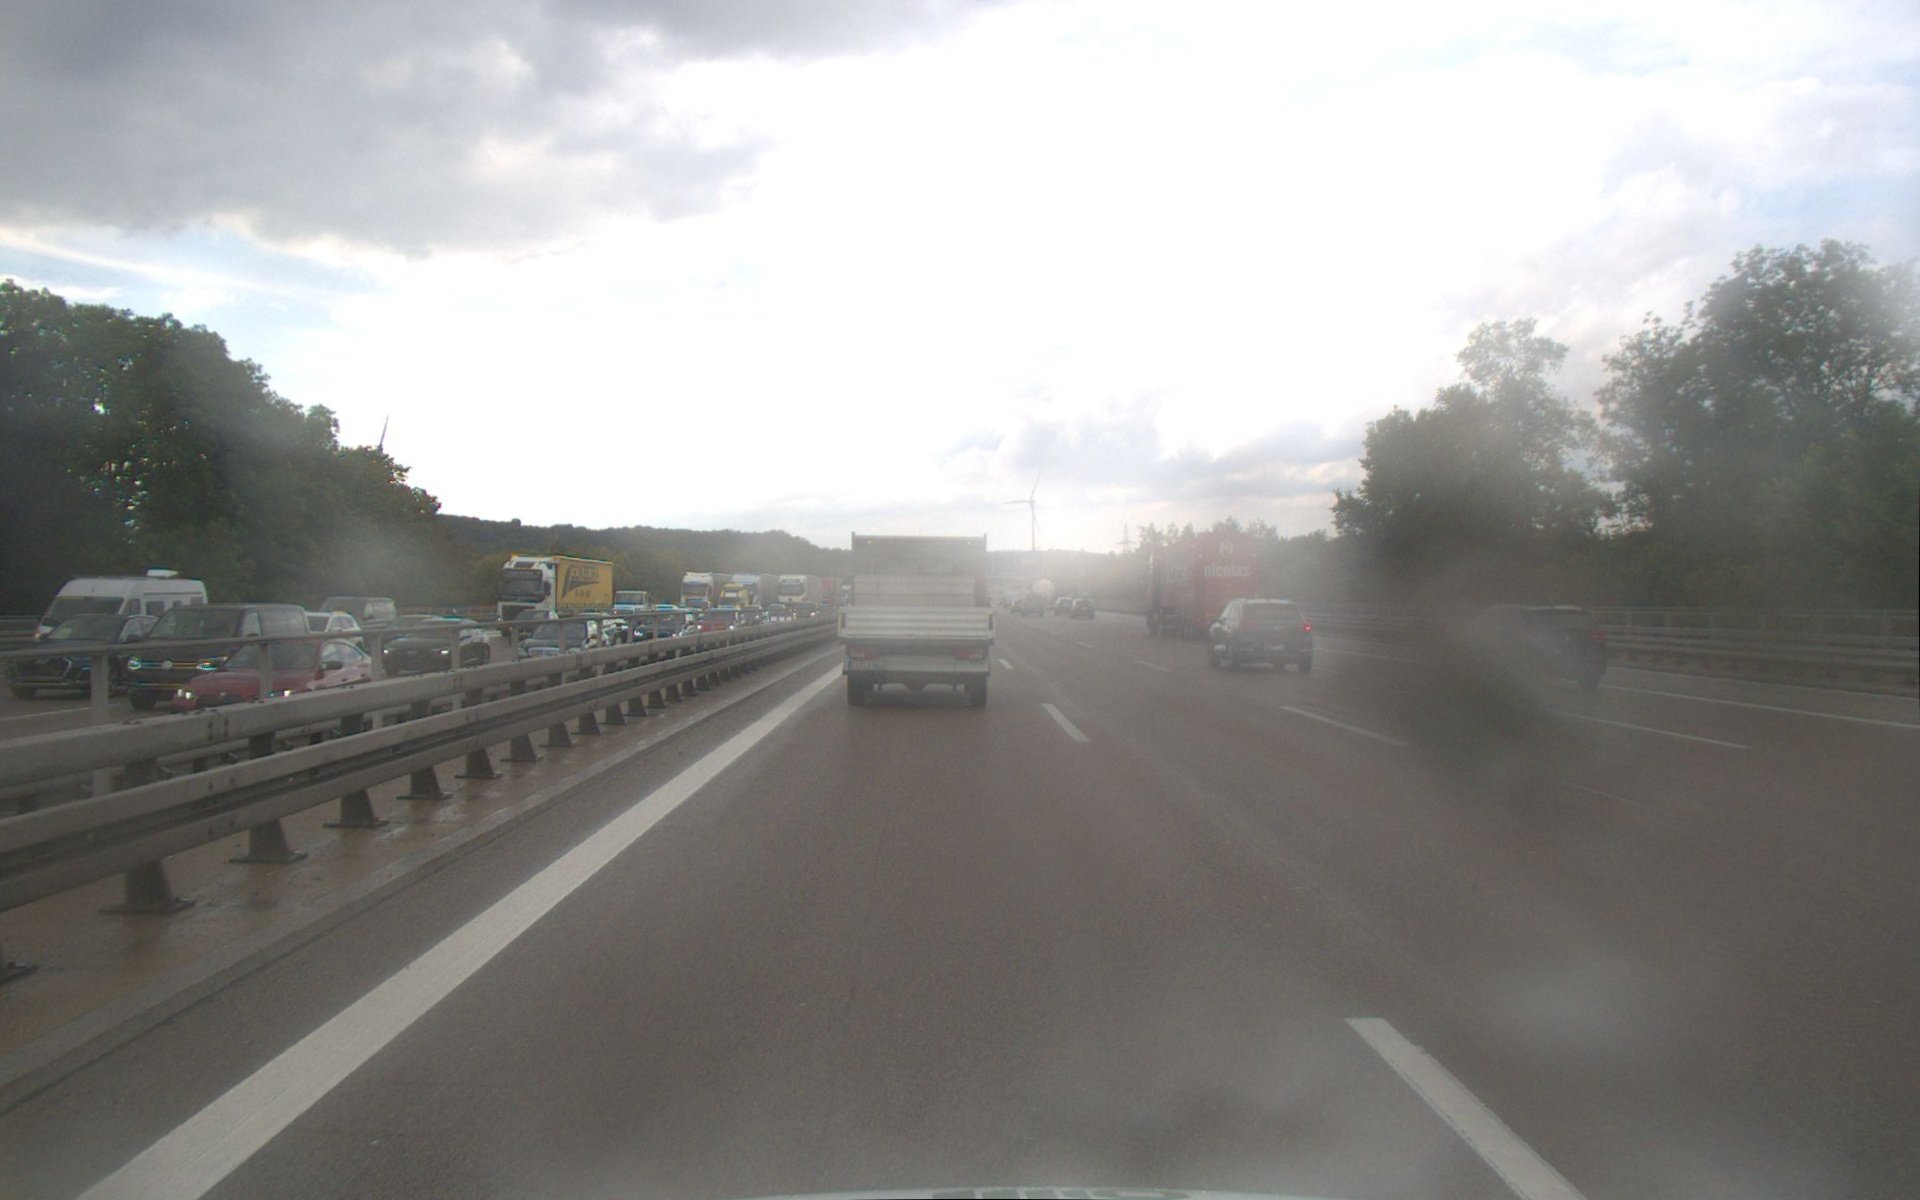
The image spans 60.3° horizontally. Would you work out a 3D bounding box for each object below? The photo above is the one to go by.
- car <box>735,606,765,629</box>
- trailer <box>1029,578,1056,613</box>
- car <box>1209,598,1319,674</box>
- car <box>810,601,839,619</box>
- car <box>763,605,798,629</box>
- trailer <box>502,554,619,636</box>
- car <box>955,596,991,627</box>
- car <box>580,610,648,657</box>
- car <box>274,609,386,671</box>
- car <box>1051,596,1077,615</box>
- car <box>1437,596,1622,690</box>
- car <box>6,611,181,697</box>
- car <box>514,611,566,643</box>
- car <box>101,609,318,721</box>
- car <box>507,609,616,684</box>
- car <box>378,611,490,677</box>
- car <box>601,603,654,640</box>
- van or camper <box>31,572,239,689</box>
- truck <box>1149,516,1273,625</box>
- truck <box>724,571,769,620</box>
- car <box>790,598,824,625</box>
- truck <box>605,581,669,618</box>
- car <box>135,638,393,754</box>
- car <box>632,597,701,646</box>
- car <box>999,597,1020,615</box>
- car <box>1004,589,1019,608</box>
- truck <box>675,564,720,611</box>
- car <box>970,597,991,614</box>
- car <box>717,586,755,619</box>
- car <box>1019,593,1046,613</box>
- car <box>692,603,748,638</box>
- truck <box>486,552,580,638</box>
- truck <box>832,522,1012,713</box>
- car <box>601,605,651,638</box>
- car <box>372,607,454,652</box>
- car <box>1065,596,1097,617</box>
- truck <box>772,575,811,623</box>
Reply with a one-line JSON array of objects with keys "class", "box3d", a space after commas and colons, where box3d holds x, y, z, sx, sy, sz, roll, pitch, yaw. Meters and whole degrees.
[{"class": "car", "box3d": [-15.071, 1.244, 118.820, 1.712, 1.604, 4.687, -1, 0, -2]}, {"class": "trailer", "box3d": [10.596, -0.557, 213.639, 3.264, 4.249, 11.840, 1, 0, 2]}, {"class": "car", "box3d": [6.614, 0.759, 36.355, 1.755, 1.590, 3.722, 0, 0, 0]}, {"class": "car", "box3d": [-11.202, 0.791, 136.790, 1.973, 1.411, 5.459, -1, 0, 0]}, {"class": "car", "box3d": [-10.891, 1.041, 100.790, 1.726, 1.407, 4.819, -1, 0, -2]}, {"class": "trailer", "box3d": [-22.537, -0.257, 94.371, 3.181, 4.302, 14.508, -1, 0, 0]}, {"class": "car", "box3d": [0.762, 0.623, 94.346, 2.003, 1.729, 4.001, 0, 0, 1]}, {"class": "car", "box3d": [-13.539, 1.273, 64.929, 1.819, 1.738, 3.999, -1, 0, -1]}, {"class": "car", "box3d": [-18.174, 1.118, 47.914, 1.693, 1.640, 4.461, -1, 0, -3]}, {"class": "car", "box3d": [9.804, 0.474, 155.659, 2.004, 1.729, 5.005, 0, 0, -2]}, {"class": "car", "box3d": [10.281, 0.724, 30.215, 1.778, 1.570, 4.356, 0, 0, -2]}, {"class": "car", "box3d": [-17.861, 1.067, 34.282, 1.643, 1.607, 3.998, -1, 0, -3]}, {"class": "car", "box3d": [-18.315, 1.140, 72.303, 1.418, 1.323, 3.998, -1, 0, -3]}, {"class": "car", "box3d": [-14.285, 1.166, 31.850, 1.854, 1.935, 5.002, -1, 0, 1]}, {"class": "car", "box3d": [-10.929, 1.222, 45.735, 1.828, 1.858, 5.706, -1, 0, -3]}, {"class": "car", "box3d": [-14.351, 1.166, 45.354, 1.826, 1.640, 4.461, -1, 0, -3]}, {"class": "car", "box3d": [-15.543, 0.994, 77.434, 1.744, 1.640, 4.575, -1, 0, -3]}, {"class": "van or camper", "box3d": [-21.681, 0.725, 43.927, 2.157, 2.814, 7.228, -1, 0, -3]}, {"class": "truck", "box3d": [10.229, -1.126, 69.358, 3.087, 4.073, 15.638, 0, 0, 1]}, {"class": "truck", "box3d": [-18.787, -0.360, 146.213, 2.844, 4.219, 7.103, -1, 0, 1]}, {"class": "car", "box3d": [-10.953, 0.804, 118.667, 1.874, 1.797, 5.331, -1, 0, 0]}, {"class": "truck", "box3d": [-22.305, -0.015, 114.766, 2.626, 2.413, 9.274, -1, 0, 0]}, {"class": "car", "box3d": [-10.376, 1.363, 25.156, 1.836, 1.416, 5.362, -1, 0, -3]}, {"class": "car", "box3d": [-10.707, 0.758, 60.660, 1.830, 1.699, 5.171, -1, 0, -3]}, {"class": "car", "box3d": [4.858, 0.593, 163.836, 2.003, 1.729, 4.000, 0, 0, 0]}, {"class": "car", "box3d": [6.939, -0.251, 224.936, 2.003, 2.541, 4.001, 0, 0, 1]}, {"class": "truck", "box3d": [-23.175, -1.072, 146.353, 2.702, 4.063, 6.577, -1, 0, 1]}, {"class": "car", "box3d": [2.068, 0.558, 168.195, 1.932, 1.729, 3.999, 0, 0, -2]}, {"class": "car", "box3d": [-18.115, 0.181, 133.990, 2.112, 2.548, 6.772, -1, 0, 0]}, {"class": "car", "box3d": [6.384, 0.274, 145.735, 2.055, 1.729, 3.999, 0, 0, -2]}, {"class": "car", "box3d": [-10.664, 0.889, 73.770, 1.954, 1.489, 4.839, -1, 0, -3]}, {"class": "truck", "box3d": [-22.517, -0.259, 87.607, 3.181, 4.324, 6.881, -1, 0, 0]}, {"class": "truck", "box3d": [-0.593, 0.212, 25.106, 2.305, 2.450, 7.355, 1, 0, -2]}, {"class": "car", "box3d": [-17.835, 1.129, 88.386, 1.953, 1.691, 3.999, -1, 0, -2]}, {"class": "car", "box3d": [-18.459, 0.973, 55.970, 1.601, 1.443, 3.998, -1, 0, -3]}, {"class": "car", "box3d": [9.666, 0.522, 132.976, 2.062, 1.634, 5.064, 0, 0, -2]}, {"class": "truck", "box3d": [-15.359, -0.114, 151.128, 2.822, 4.253, 7.556, -1, 0, 0]}]
